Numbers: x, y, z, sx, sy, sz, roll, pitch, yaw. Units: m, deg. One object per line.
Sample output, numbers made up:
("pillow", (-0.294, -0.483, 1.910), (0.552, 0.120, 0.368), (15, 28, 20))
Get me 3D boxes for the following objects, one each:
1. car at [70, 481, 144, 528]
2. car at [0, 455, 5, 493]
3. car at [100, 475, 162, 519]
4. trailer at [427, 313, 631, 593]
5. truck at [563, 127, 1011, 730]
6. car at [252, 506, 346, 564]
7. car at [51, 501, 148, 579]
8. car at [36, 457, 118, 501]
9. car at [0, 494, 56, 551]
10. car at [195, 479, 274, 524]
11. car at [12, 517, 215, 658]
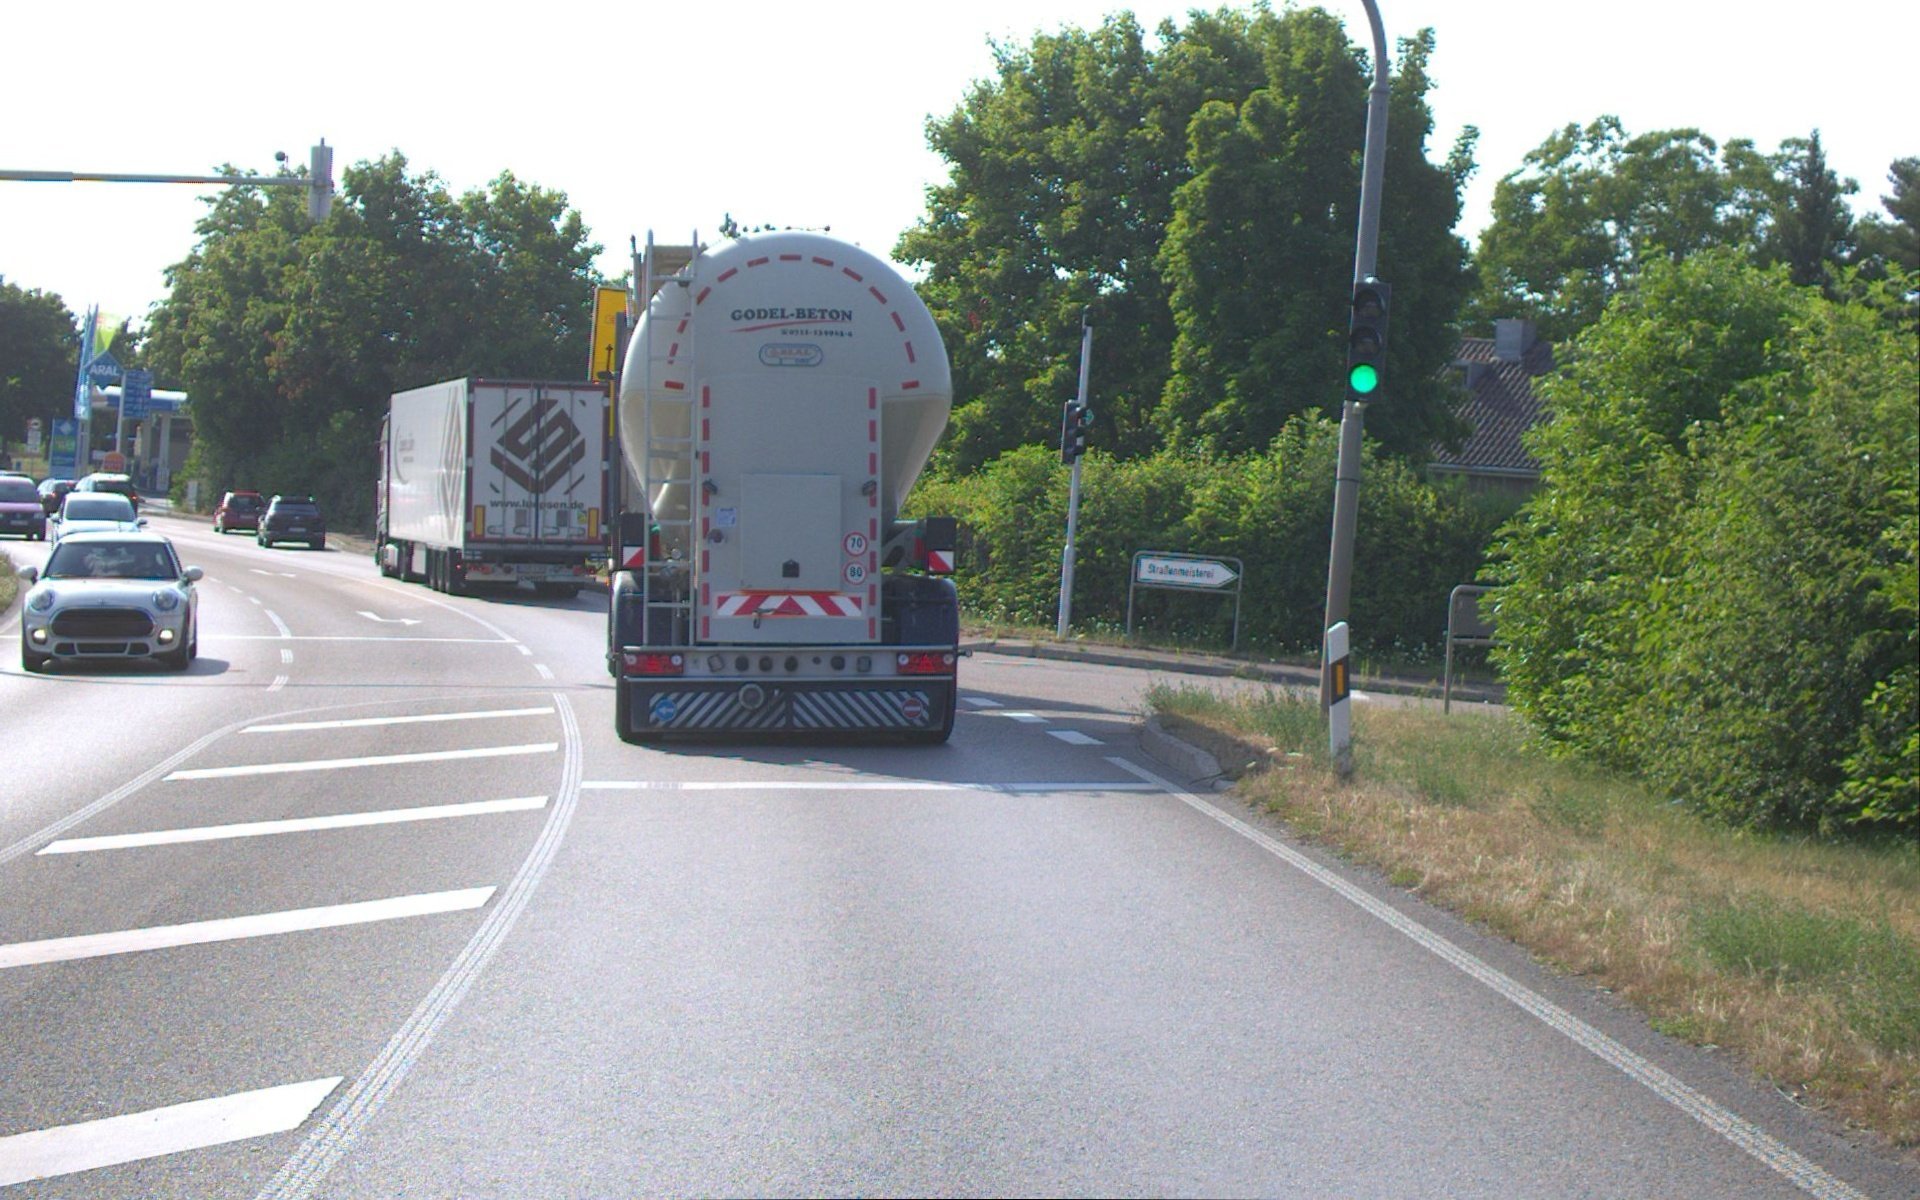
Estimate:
("car", (-31.071, -3.493, 125.135), (1.881, 1.594, 4.001), (2, 1, -24))
("car", (-41.904, -5.376, 145.360), (1.881, 1.594, 4.001), (2, 1, -31))
("car", (-34.254, -4.246, 142.021), (1.841, 1.650, 4.001), (2, 0, -23))
("trailer", (-8.470, -2.645, 66.458), (2.963, 4.865, 10.291), (2, 0, -12))
("truck", (-1.884, -1.218, 30.155), (2.975, 4.161, 11.664), (2, 0, -7))
("car", (-19.848, -1.935, 103.100), (1.993, 1.650, 4.001), (2, 0, -22))
("car", (-18.984, -1.340, 75.772), (1.881, 1.594, 4.002), (2, 1, -16))
("car", (-34.098, -4.687, 132.711), (2.085, 1.594, 4.001), (2, 1, -29))
("car", (-27.919, -2.331, 101.873), (1.881, 1.594, 4.001), (2, 1, -18))
("car", (-25.068, -3.385, 118.720), (1.683, 1.463, 4.001), (2, 0, -26))
("car", (-9.034, -0.152, 36.928), (1.720, 1.431, 3.750), (0, 1, -8))
